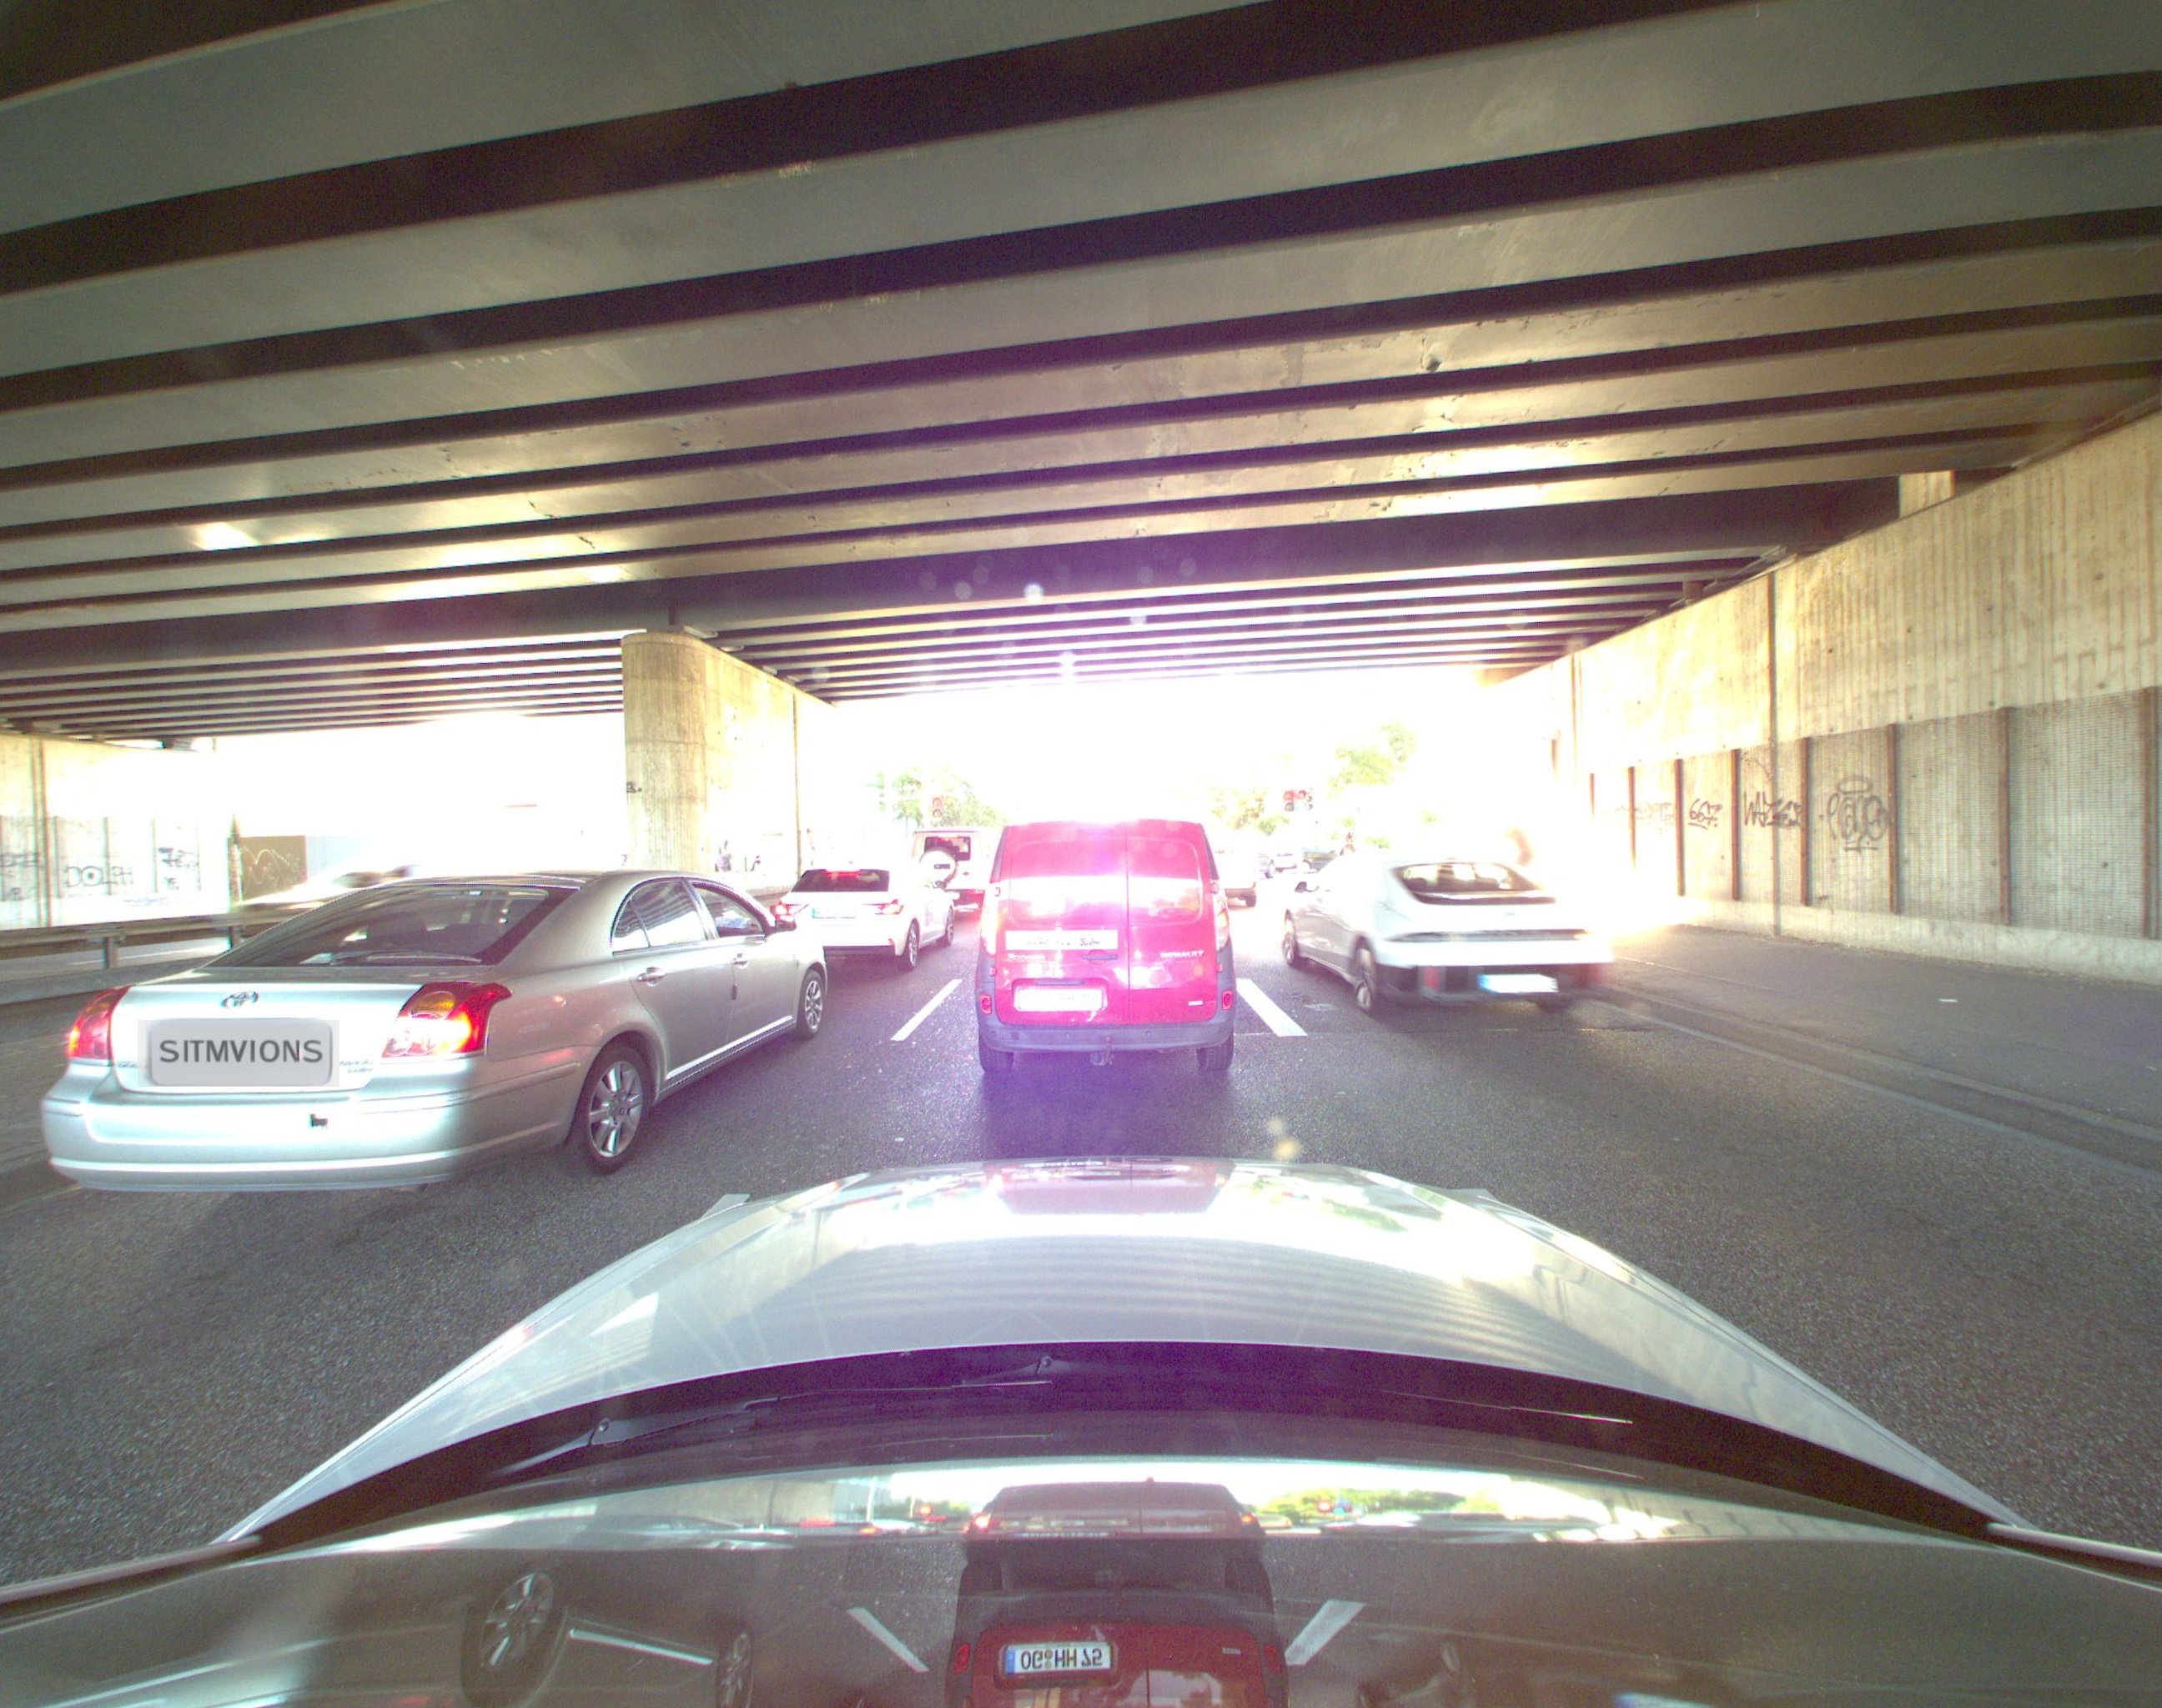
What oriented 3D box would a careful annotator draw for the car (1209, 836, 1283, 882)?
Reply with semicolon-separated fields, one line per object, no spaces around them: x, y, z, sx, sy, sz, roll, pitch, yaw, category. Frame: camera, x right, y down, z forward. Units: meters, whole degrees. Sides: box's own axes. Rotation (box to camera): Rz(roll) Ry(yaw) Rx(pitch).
6.646;0.157;32.492;1.788;1.622;4.133;0;2;28;car

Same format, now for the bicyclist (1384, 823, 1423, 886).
8.202;0.009;20.746;0.667;1.561;0.735;-2;-1;2;bicyclist

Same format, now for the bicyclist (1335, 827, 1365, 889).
7.150;0.116;21.674;0.673;1.629;0.646;0;-1;12;bicyclist

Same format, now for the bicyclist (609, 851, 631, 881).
-23.407;0.606;41.395;0.625;1.525;0.837;0;-1;2;bicyclist

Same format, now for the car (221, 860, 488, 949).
-15.580;0.994;17.869;1.845;1.616;4.365;-2;0;1;car

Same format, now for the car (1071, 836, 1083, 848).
-0.721;-2.093;142.796;1.986;2.014;4.001;0;0;2;car

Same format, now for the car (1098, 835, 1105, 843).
5.627;-4.028;220.752;1.986;2.014;4.001;0;0;2;car

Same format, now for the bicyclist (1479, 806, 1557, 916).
6.801;0.110;12.726;0.744;1.655;0.886;0;-1;1;bicyclist

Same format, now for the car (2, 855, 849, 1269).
-2.987;0.752;5.126;1.690;1.455;4.399;0;0;1;car

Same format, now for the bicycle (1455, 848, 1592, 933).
6.831;0.503;12.759;0.762;1.146;2.470;-4;0;1;bicycle

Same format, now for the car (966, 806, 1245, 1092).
0.215;0.585;7.052;1.712;1.764;4.002;0;0;2;car

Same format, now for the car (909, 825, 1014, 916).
-2.667;0.342;19.030;1.807;1.904;3.814;0;0;1;car

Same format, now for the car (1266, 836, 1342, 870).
10.046;-0.027;36.584;1.820;1.464;3.912;-1;-1;40;car

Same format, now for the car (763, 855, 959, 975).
-2.925;0.732;11.674;1.686;1.410;3.814;0;0;1;car

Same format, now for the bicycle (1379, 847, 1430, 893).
8.212;0.398;20.741;0.678;1.113;1.604;-2;0;1;bicycle

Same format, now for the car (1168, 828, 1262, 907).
3.372;0.292;21.212;1.807;1.833;4.301;0;1;1;car

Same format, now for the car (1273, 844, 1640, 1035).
3.448;0.652;8.607;1.740;1.456;4.664;0;0;0;car

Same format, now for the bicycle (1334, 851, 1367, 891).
7.146;0.435;21.638;0.672;1.024;1.534;0;0;12;bicycle

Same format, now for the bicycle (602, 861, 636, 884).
-23.408;0.920;41.295;0.631;1.165;1.878;0;0;2;bicycle
